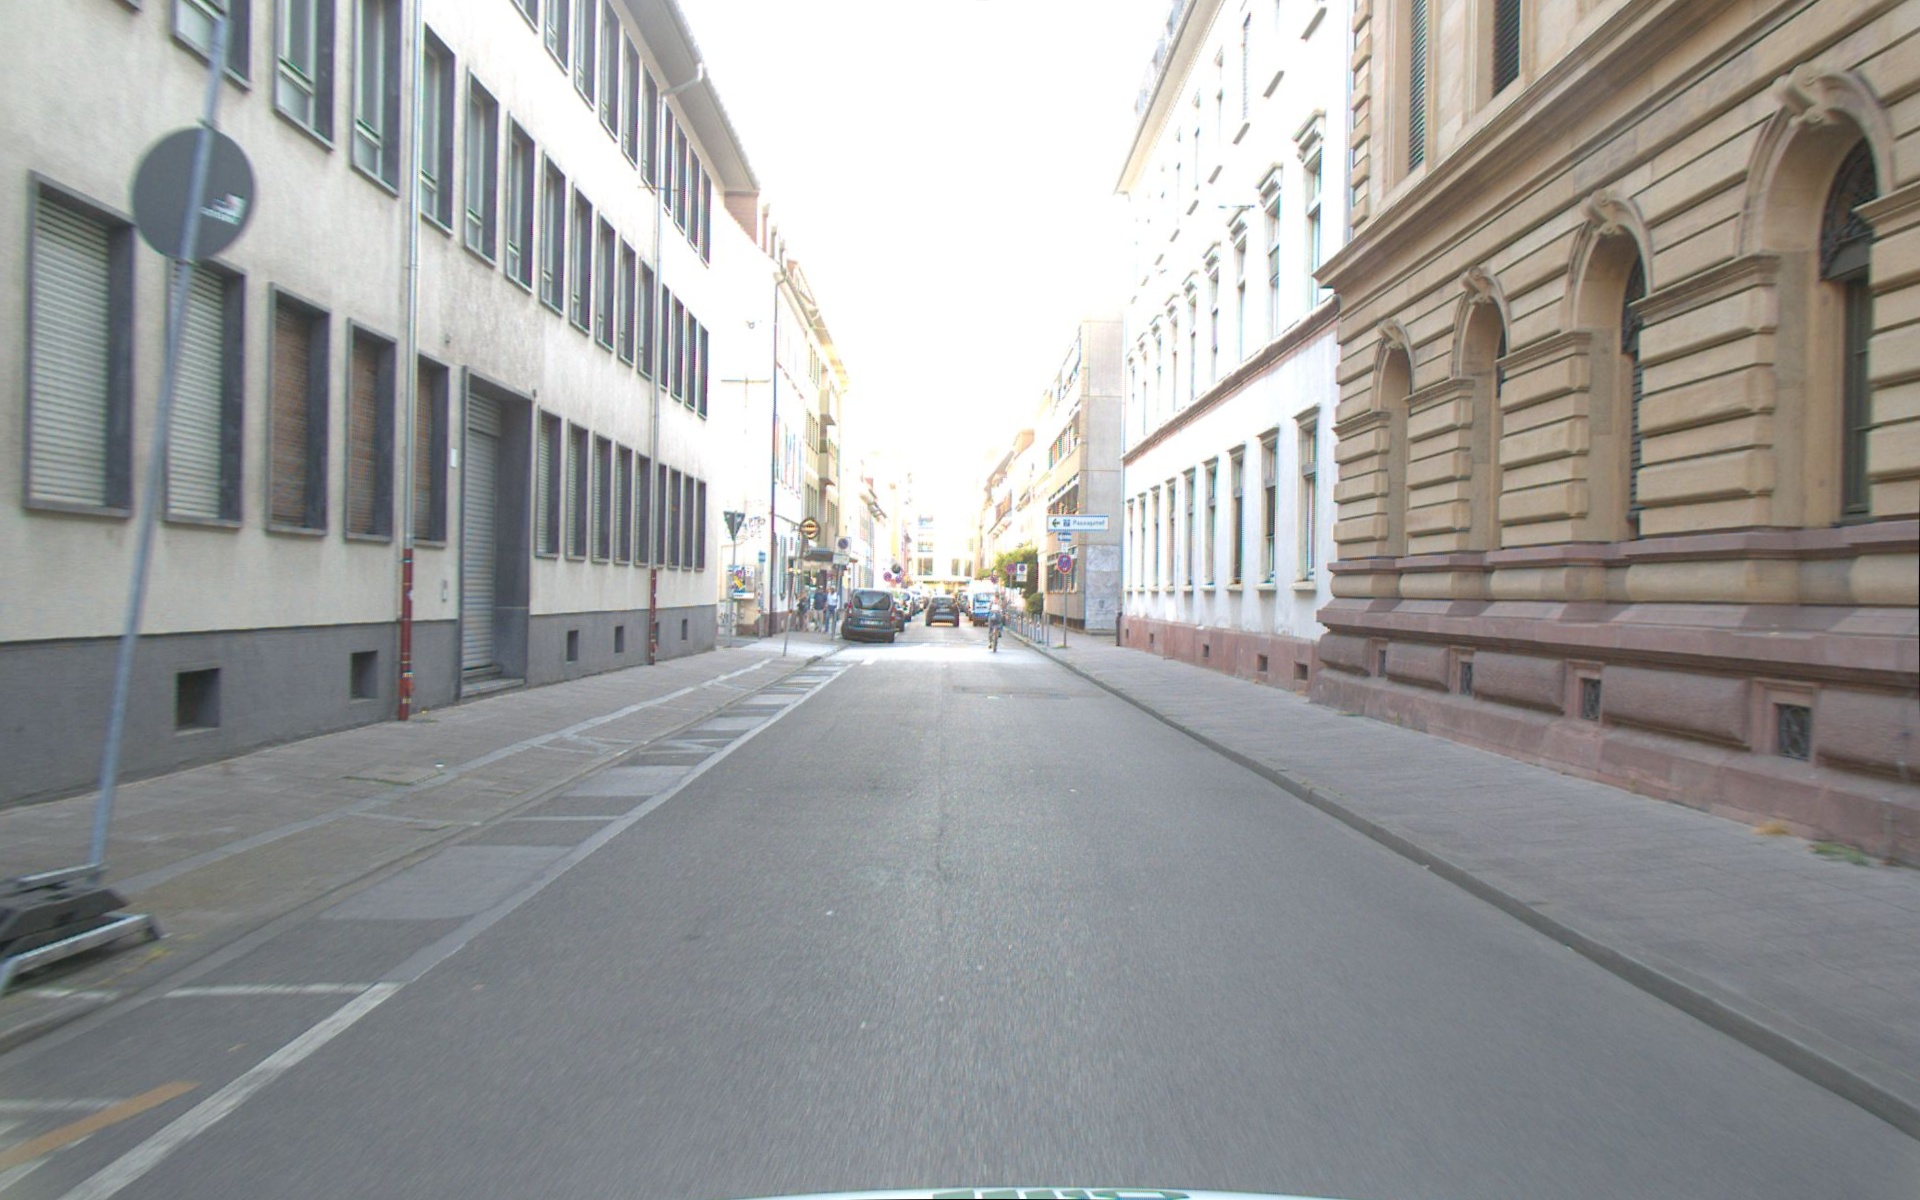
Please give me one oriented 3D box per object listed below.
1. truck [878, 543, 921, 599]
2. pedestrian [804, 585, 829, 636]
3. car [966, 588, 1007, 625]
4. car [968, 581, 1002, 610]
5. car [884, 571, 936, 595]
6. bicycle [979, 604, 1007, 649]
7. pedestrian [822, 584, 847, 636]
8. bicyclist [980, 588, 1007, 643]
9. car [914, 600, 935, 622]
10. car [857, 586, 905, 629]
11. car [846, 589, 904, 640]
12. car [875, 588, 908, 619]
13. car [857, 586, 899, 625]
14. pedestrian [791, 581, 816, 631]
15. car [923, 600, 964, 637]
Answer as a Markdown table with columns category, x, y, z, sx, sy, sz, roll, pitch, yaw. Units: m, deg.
| category | x | y | z | sx | sy | sz | roll | pitch | yaw |
| --- | --- | --- | --- | --- | --- | --- | --- | --- | --- |
| truck | -4.113 | -1.872 | 111.407 | 2.715 | 3.566 | 9.611 | 1 | 0 | -2 |
| pedestrian | -5.508 | 0.387 | 63.495 | 0.717 | 1.945 | 0.758 | 0 | 0 | 17 |
| car | 1.468 | 0.347 | 92.197 | 1.954 | 2.026 | 3.997 | 0 | 0 | -4 |
| car | 1.670 | -0.276 | 111.663 | 1.954 | 1.919 | 4.168 | 0 | 0 | -4 |
| car | -3.956 | -1.318 | 130.818 | 3.913 | 1.801 | 2.011 | 1 | 0 | -9 |
| bicycle | 0.985 | 0.783 | 49.651 | 0.777 | 1.299 | 2.578 | 0 | 0 | 0 |
| pedestrian | -4.786 | 0.386 | 62.917 | 0.717 | 1.945 | 0.758 | 0 | 0 | 17 |
| bicyclist | 0.999 | 0.457 | 49.578 | 0.773 | 1.611 | 1.012 | 0 | 0 | -1 |
| car | -3.474 | 1.076 | 162.364 | 1.953 | 2.049 | 3.999 | 2 | -1 | -1 |
| car | -3.561 | 0.312 | 73.769 | 1.955 | 1.847 | 3.996 | 0 | 0 | -5 |
| car | -3.002 | 0.502 | 58.794 | 1.953 | 1.758 | 3.998 | 0 | 0 | -3 |
| car | -4.165 | 0.209 | 99.959 | 1.954 | 1.847 | 3.998 | 0 | 0 | -3 |
| car | -4.085 | 0.251 | 81.825 | 1.954 | 1.847 | 3.997 | 0 | 0 | -4 |
| pedestrian | -5.847 | 0.228 | 61.780 | 0.744 | 1.861 | 0.731 | 0 | 0 | -19 |
| car | -0.901 | 0.957 | 87.432 | 1.954 | 1.937 | 3.997 | 0 | 0 | -4 |
